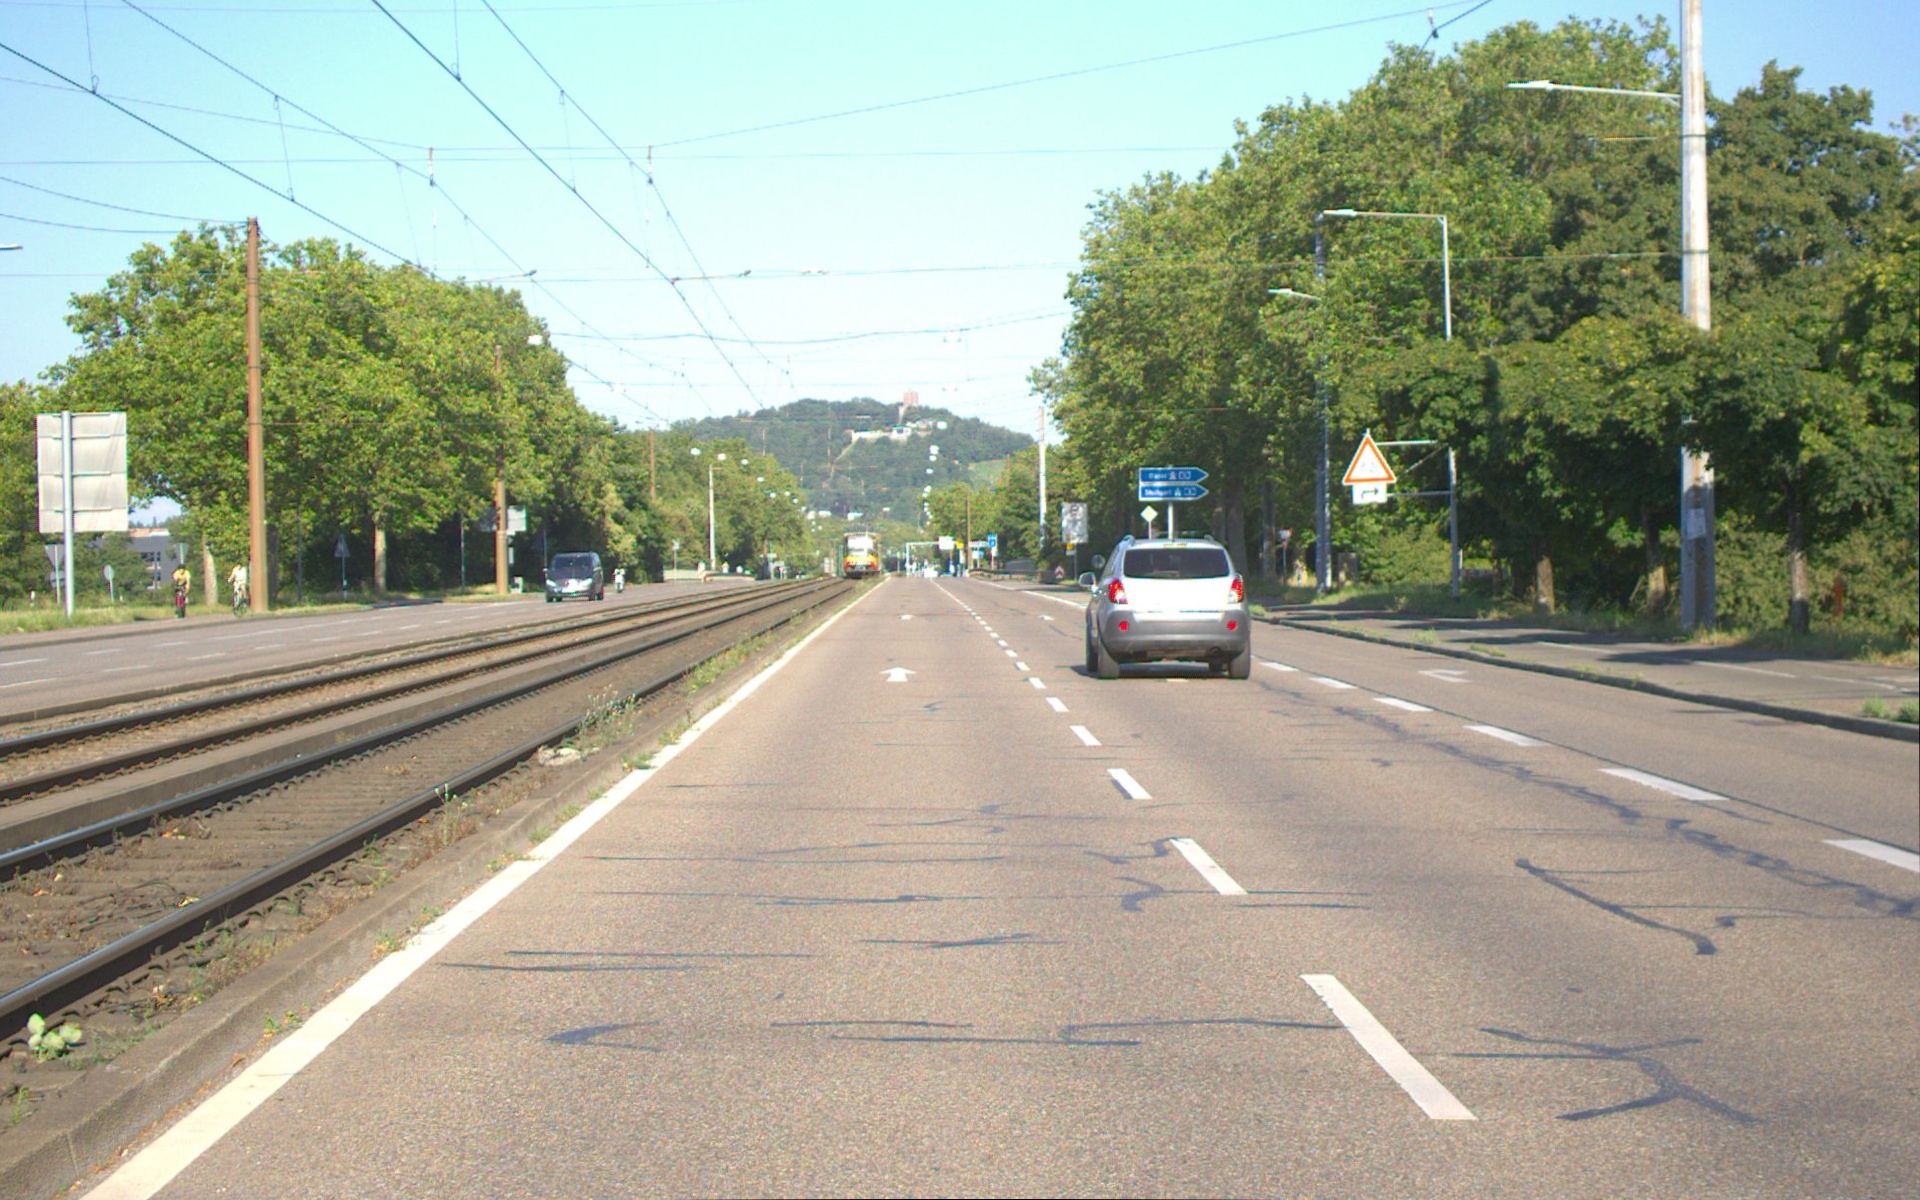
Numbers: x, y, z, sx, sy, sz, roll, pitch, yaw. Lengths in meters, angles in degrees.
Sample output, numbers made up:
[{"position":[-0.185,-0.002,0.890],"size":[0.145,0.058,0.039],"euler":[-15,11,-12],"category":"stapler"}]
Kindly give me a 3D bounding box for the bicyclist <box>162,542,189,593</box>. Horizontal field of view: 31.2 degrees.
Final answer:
[{"position":[-23.742,-0.973,104.070],"size":[0.590,1.523,0.906],"euler":[-1,0,-1],"category":"bicyclist"}]

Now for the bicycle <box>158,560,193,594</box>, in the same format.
[{"position":[-23.744,-0.703,104.039],"size":[0.590,1.018,2.186],"euler":[-1,0,-1],"category":"bicycle"}]

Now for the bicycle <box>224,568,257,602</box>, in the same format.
[{"position":[-22.241,-0.461,106.333],"size":[0.590,1.018,2.186],"euler":[-1,0,-1],"category":"bicycle"}]

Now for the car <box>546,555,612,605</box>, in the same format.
[{"position":[-15.024,-0.782,135.814],"size":[1.993,1.916,4.860],"euler":[-1,0,1],"category":"car"}]

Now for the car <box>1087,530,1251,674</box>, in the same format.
[{"position":[2.544,0.009,42.676],"size":[1.888,1.688,4.256],"euler":[0,0,2],"category":"car"}]

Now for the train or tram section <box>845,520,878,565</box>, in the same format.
[{"position":[-7.378,-4.302,258.235],"size":[2.310,3.206,9.475],"euler":[1,0,-1],"category":"train or tram section"}]

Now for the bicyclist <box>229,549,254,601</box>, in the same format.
[{"position":[-22.240,-0.768,106.412],"size":[0.590,1.605,0.967],"euler":[-1,0,-1],"category":"bicyclist"}]
